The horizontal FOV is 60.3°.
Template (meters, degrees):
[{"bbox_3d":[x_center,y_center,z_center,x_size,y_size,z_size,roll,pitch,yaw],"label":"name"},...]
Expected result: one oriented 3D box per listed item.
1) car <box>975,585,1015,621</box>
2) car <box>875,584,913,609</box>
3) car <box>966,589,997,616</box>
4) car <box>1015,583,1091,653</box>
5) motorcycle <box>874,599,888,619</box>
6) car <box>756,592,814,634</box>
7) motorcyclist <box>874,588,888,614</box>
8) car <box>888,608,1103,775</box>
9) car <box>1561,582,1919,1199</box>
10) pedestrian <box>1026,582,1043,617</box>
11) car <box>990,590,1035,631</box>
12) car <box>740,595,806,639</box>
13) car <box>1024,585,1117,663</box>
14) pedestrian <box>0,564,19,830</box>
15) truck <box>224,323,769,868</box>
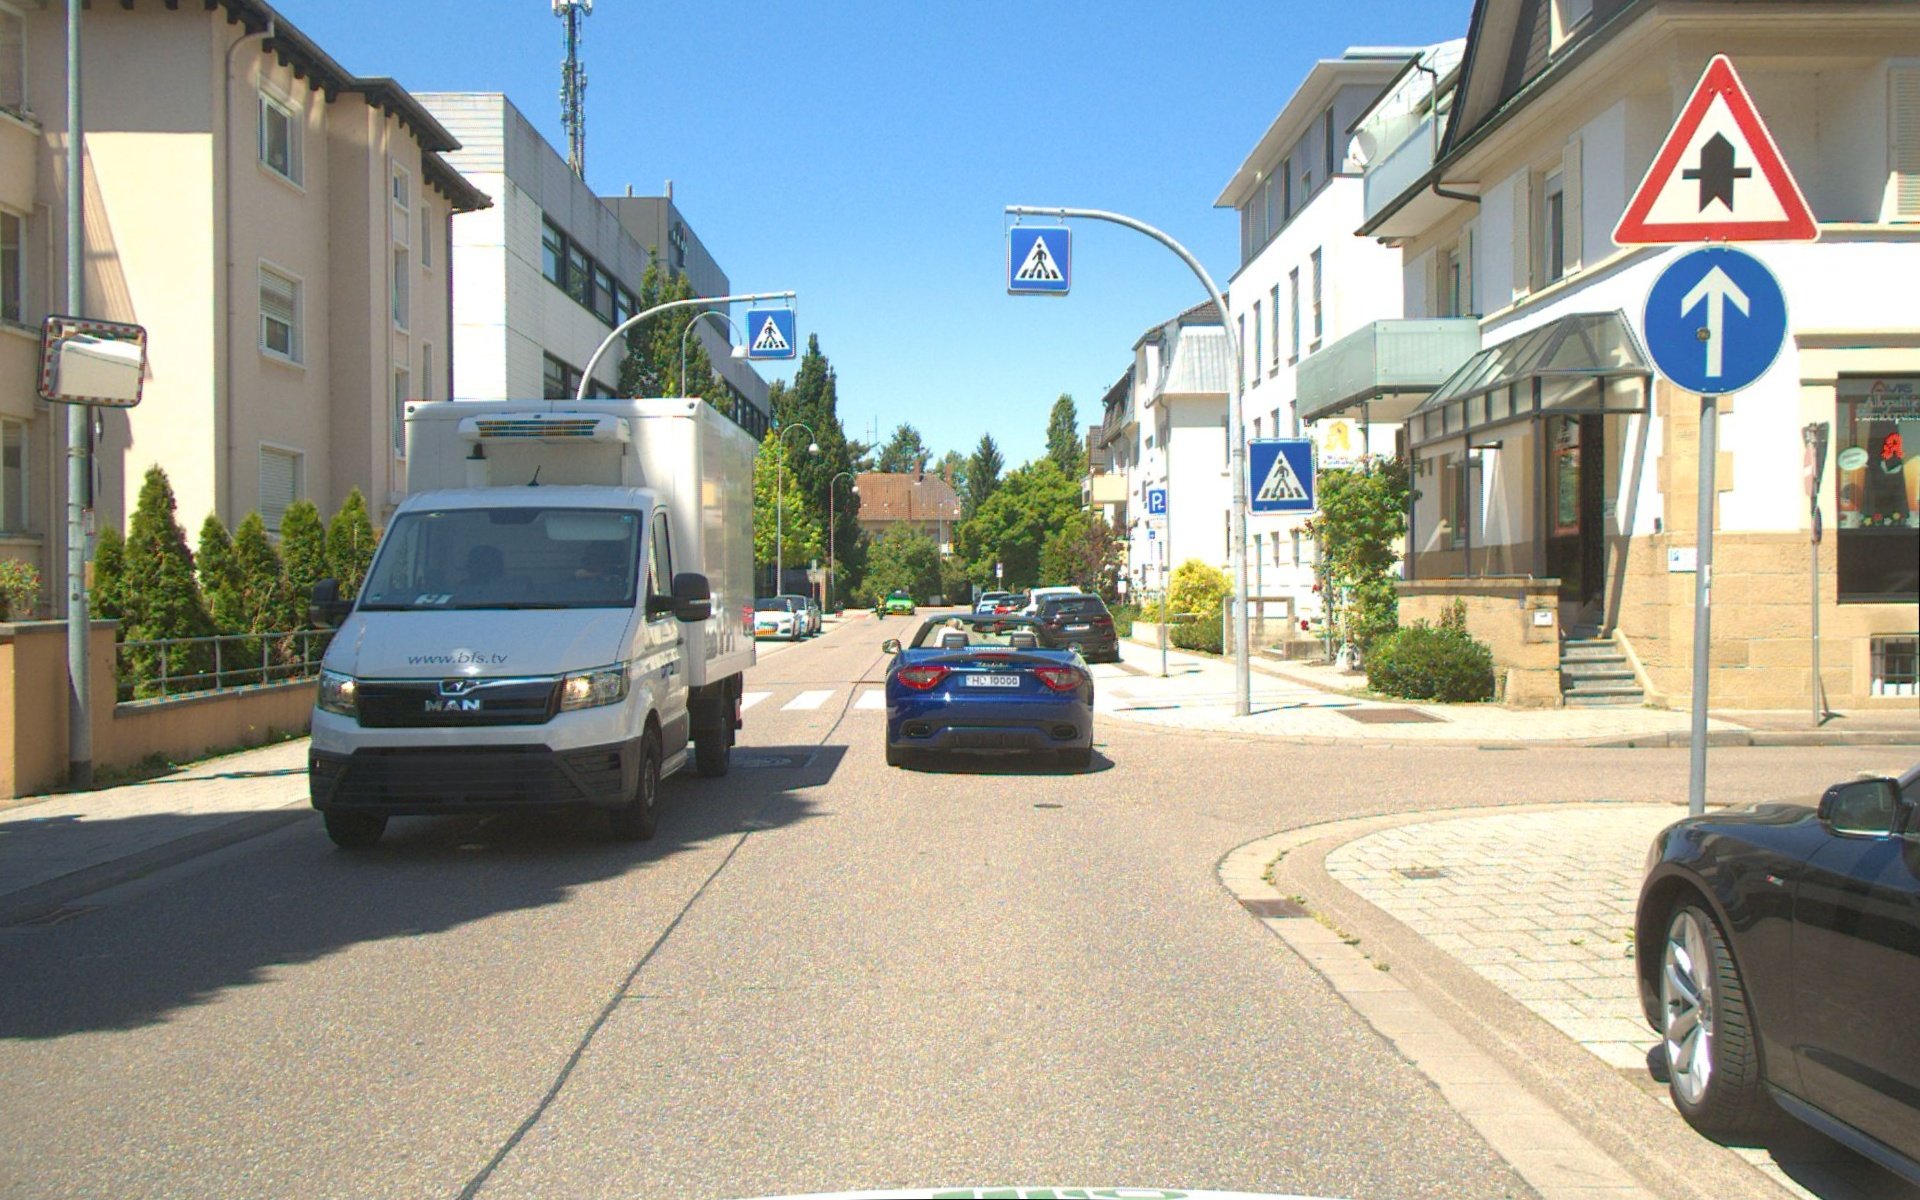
[{"bbox_3d":[1.691,0.143,81.345,1.806,1.647,4.427,-2,0,0],"label":"car"},{"bbox_3d":[-4.415,-0.224,110.193,1.790,1.616,4.087,1,0,-12],"label":"car"},{"bbox_3d":[1.205,0.118,95.869,1.598,1.471,4.397,-3,0,-1],"label":"car"},{"bbox_3d":[2.363,0.426,43.014,1.670,1.695,4.579,0,0,-1],"label":"car"},{"bbox_3d":[-4.512,0.497,94.741,0.684,1.126,1.790,-2,0,-1],"label":"motorcycle"},{"bbox_3d":[-6.540,0.471,62.115,1.785,1.538,4.289,0,0,-1],"label":"car"},{"bbox_3d":[-4.515,0.070,94.572,0.684,1.458,0.707,-2,0,-1],"label":"motorcyclist"},{"bbox_3d":[0.269,0.780,16.154,1.789,1.360,4.699,0,0,-1],"label":"car"},{"bbox_3d":[2.986,0.676,3.278,1.789,1.451,4.699,-2,0,-1],"label":"car"},{"bbox_3d":[3.674,-0.026,81.660,0.725,1.698,0.705,-3,0,-2],"label":"pedestrian"},{"bbox_3d":[2.017,0.377,64.295,1.571,1.466,3.853,-3,0,0],"label":"car"},{"bbox_3d":[-6.376,0.551,56.800,1.785,1.436,4.576,1,0,-1],"label":"car"},{"bbox_3d":[2.408,0.482,36.890,1.670,1.583,4.747,-2,0,-1],"label":"car"},{"bbox_3d":[-6.451,0.625,10.519,0.525,1.715,0.708,0,0,-1],"label":"pedestrian"},{"bbox_3d":[-2.977,-0.043,12.472,2.370,3.035,6.256,-1,0,-1],"label":"truck"}]
